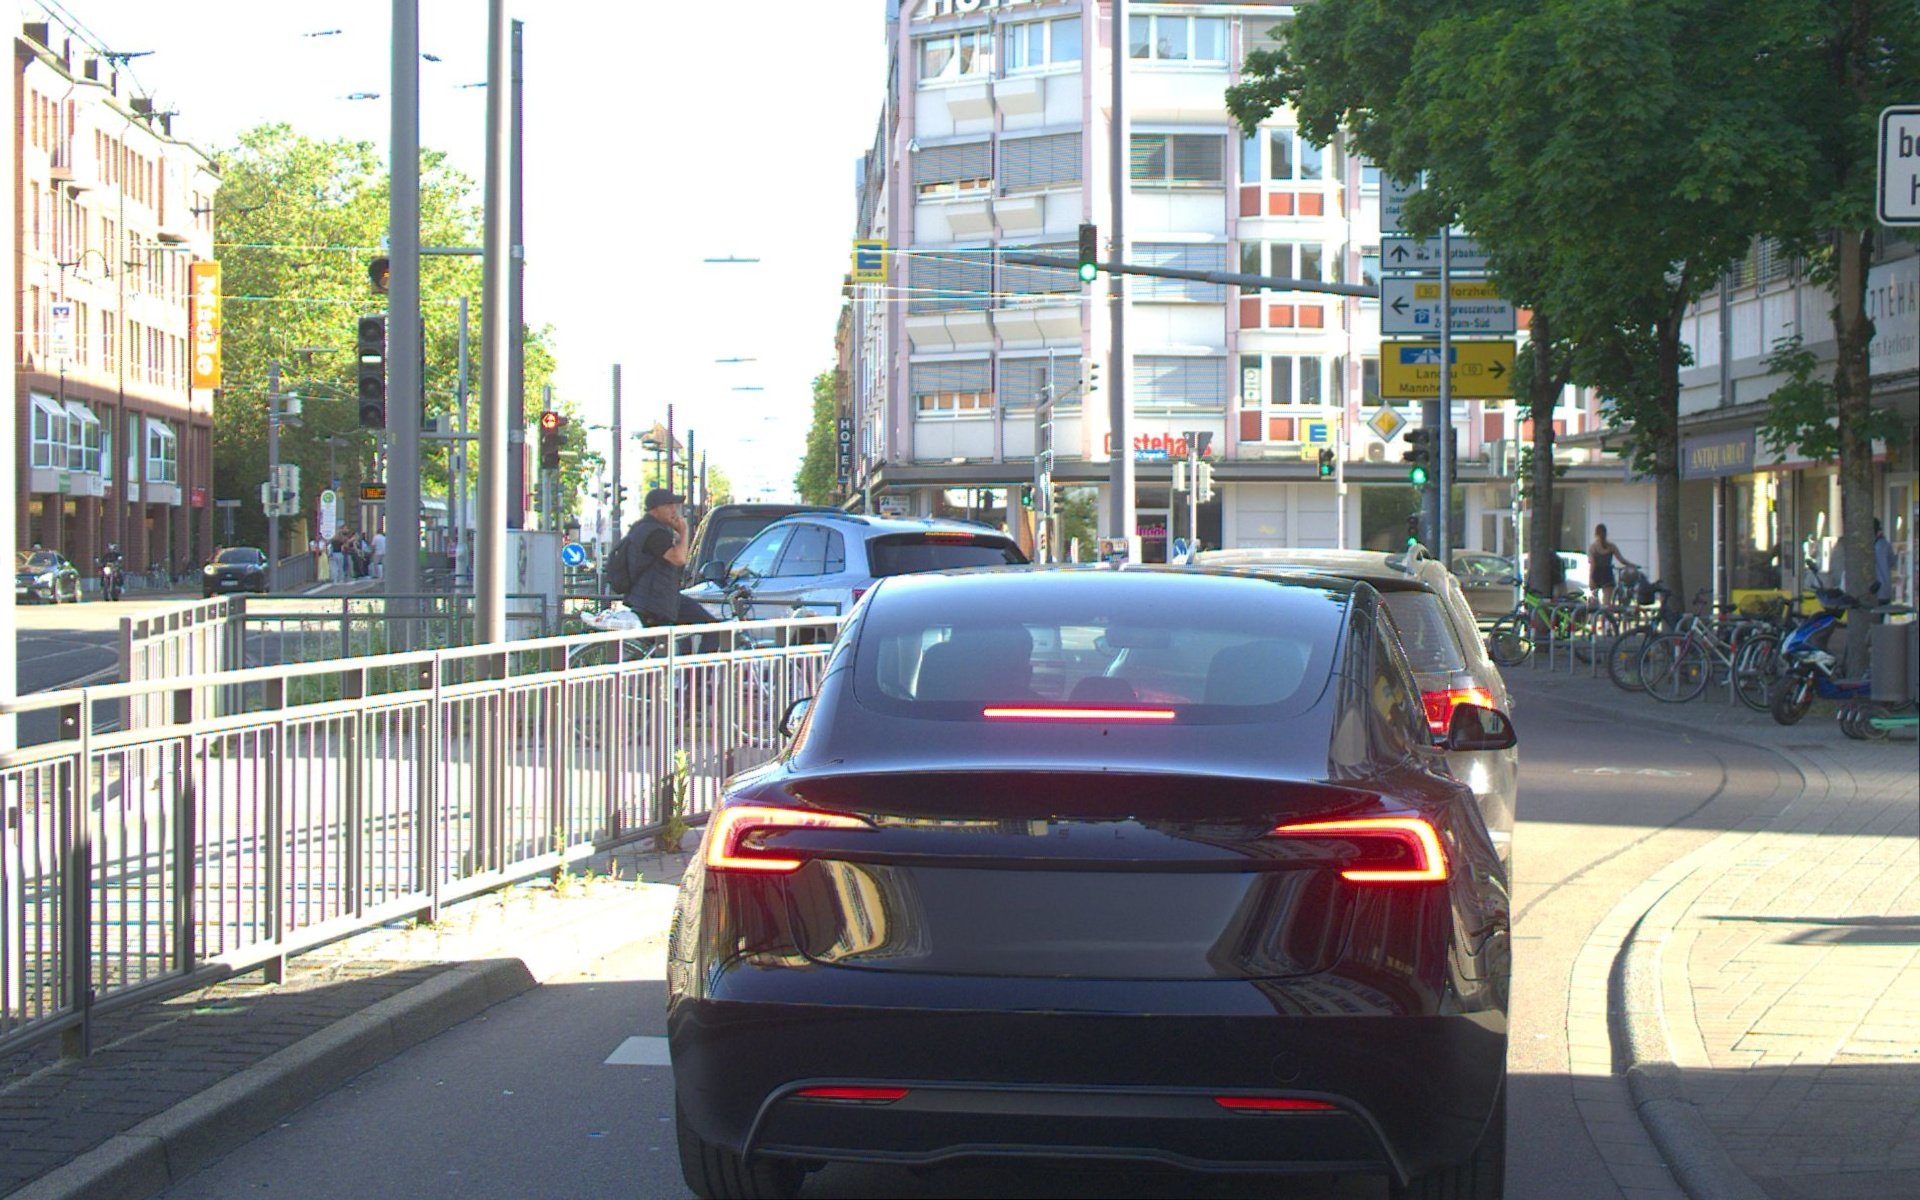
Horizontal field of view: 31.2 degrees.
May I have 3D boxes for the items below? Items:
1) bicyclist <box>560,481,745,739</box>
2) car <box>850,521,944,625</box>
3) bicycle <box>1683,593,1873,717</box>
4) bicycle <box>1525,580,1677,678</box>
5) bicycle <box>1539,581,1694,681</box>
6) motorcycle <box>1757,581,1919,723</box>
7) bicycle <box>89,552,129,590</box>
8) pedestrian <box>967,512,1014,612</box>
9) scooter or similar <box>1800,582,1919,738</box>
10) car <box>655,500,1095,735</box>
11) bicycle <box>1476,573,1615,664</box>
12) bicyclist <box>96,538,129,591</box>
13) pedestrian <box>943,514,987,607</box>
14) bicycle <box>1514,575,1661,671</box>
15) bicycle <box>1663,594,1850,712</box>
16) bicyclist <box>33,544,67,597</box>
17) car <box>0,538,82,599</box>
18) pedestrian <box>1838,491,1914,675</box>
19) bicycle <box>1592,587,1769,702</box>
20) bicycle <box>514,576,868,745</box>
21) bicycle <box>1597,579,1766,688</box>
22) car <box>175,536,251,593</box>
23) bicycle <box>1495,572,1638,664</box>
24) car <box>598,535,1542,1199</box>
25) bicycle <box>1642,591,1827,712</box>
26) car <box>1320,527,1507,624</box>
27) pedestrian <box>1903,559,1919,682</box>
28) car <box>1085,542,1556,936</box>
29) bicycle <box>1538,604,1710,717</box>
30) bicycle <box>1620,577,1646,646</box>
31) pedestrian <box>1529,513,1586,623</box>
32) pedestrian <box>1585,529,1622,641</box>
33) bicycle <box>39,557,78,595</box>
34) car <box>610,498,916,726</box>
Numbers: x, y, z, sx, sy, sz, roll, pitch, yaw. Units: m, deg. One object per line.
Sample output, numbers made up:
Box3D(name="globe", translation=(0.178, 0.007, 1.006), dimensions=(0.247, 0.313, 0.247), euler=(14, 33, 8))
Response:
Box3D(name="bicyclist", translation=(-1.990, 0.057, 22.199), dimensions=(0.758, 1.623, 0.978), euler=(0, 1, -39))
Box3D(name="car", translation=(-1.116, -0.489, 61.674), dimensions=(1.598, 1.772, 3.981), euler=(1, 1, -1))
Box3D(name="bicycle", translation=(7.383, 0.496, 31.029), dimensions=(1.649, 1.095, 0.350), euler=(1, 0, -10))
Box3D(name="bicycle", translation=(7.328, 0.329, 39.329), dimensions=(1.650, 1.095, 0.350), euler=(1, 0, 1))
Box3D(name="bicycle", translation=(7.308, 0.343, 38.302), dimensions=(1.650, 1.095, 0.350), euler=(1, 0, 1))
Box3D(name="motorcycle", translation=(7.714, 0.444, 29.238), dimensions=(1.707, 1.169, 0.541), euler=(1, 0, -2))
Box3D(name="bicycle", translation=(-24.444, -0.831, 98.762), dimensions=(0.459, 1.089, 2.201), euler=(1, 1, 4))
Box3D(name="pedestrian", translation=(0.622, -0.778, 70.093), dimensions=(0.921, 2.007, 0.972), euler=(1, 0, -1))
Box3D(name="scooter or similar", translation=(7.557, 0.472, 27.190), dimensions=(1.644, 1.211, 0.644), euler=(1, 0, 30))
Box3D(name="car", translation=(-0.752, 0.100, 26.531), dimensions=(1.883, 1.656, 4.159), euler=(1, 1, -25))
Box3D(name="bicycle", translation=(7.229, 0.221, 42.481), dimensions=(1.650, 1.095, 0.350), euler=(1, 0, 1))
Box3D(name="bicyclist", translation=(-24.412, -1.017, 99.031), dimensions=(0.785, 1.522, 0.589), euler=(1, 0, 4))
Box3D(name="pedestrian", translation=(0.112, -0.867, 75.057), dimensions=(0.921, 2.007, 0.972), euler=(1, 0, -1))
Box3D(name="bicycle", translation=(7.360, 0.269, 40.341), dimensions=(1.650, 1.095, 0.350), euler=(1, 0, 1))
Box3D(name="bicycle", translation=(7.286, 0.482, 31.450), dimensions=(1.649, 1.057, 0.350), euler=(1, 0, -10))
Box3D(name="bicyclist", translation=(-26.763, -0.871, 101.126), dimensions=(0.784, 1.558, 0.746), euler=(0, 1, 2))
Box3D(name="car", translation=(-23.941, -0.829, 88.946), dimensions=(1.710, 1.521, 4.037), euler=(1, 1, -5))
Box3D(name="pedestrian", translation=(10.110, -0.188, 37.963), dimensions=(0.662, 2.007, 0.579), euler=(1, 0, 2))
Box3D(name="bicycle", translation=(6.999, 0.433, 33.401), dimensions=(1.649, 1.095, 0.350), euler=(1, 0, -10))
Box3D(name="bicycle", translation=(-1.732, 0.382, 22.440), dimensions=(2.329, 1.050, 0.631), euler=(0, 1, -38))
Box3D(name="bicycle", translation=(7.418, 0.339, 35.349), dimensions=(1.650, 1.095, 0.350), euler=(1, 0, 1))
Box3D(name="car", translation=(-23.023, -1.099, 106.078), dimensions=(1.697, 1.725, 3.707), euler=(1, 1, -3))
Box3D(name="bicycle", translation=(7.297, 0.212, 41.387), dimensions=(1.650, 1.095, 0.350), euler=(0, 1, 1))
Box3D(name="car", translation=(0.358, 0.593, 8.718), dimensions=(1.829, 1.450, 3.999), euler=(1, 1, 4))
Box3D(name="bicycle", translation=(7.181, 0.476, 31.874), dimensions=(1.649, 1.095, 0.350), euler=(1, 0, -10))
Box3D(name="car", translation=(7.857, -0.416, 59.322), dimensions=(1.824, 1.609, 3.820), euler=(1, 1, 31))
Box3D(name="pedestrian", translation=(10.653, 0.222, 37.844), dimensions=(0.389, 1.339, 0.513), euler=(1, 0, 2))
Box3D(name="car", translation=(1.562, 0.489, 14.995), dimensions=(1.751, 1.449, 3.999), euler=(1, 1, 6))
Box3D(name="bicycle", translation=(6.606, 0.602, 34.221), dimensions=(1.649, 1.095, 0.350), euler=(1, 0, -10))
Box3D(name="bicycle", translation=(10.187, 0.166, 52.042), dimensions=(0.332, 1.030, 1.256), euler=(1, 0, 9))
Box3D(name="pedestrian", translation=(9.098, -0.492, 52.390), dimensions=(0.699, 1.656, 0.777), euler=(1, 0, -1))
Box3D(name="pedestrian", translation=(9.843, -0.233, 52.610), dimensions=(0.526, 1.704, 0.403), euler=(1, 0, 12))
Box3D(name="bicycle", translation=(-26.712, -0.723, 101.866), dimensions=(0.529, 1.085, 2.225), euler=(0, 1, 1))
Box3D(name="car", translation=(-1.937, 0.078, 32.531), dimensions=(1.993, 2.007, 4.001), euler=(0, 1, -17))
